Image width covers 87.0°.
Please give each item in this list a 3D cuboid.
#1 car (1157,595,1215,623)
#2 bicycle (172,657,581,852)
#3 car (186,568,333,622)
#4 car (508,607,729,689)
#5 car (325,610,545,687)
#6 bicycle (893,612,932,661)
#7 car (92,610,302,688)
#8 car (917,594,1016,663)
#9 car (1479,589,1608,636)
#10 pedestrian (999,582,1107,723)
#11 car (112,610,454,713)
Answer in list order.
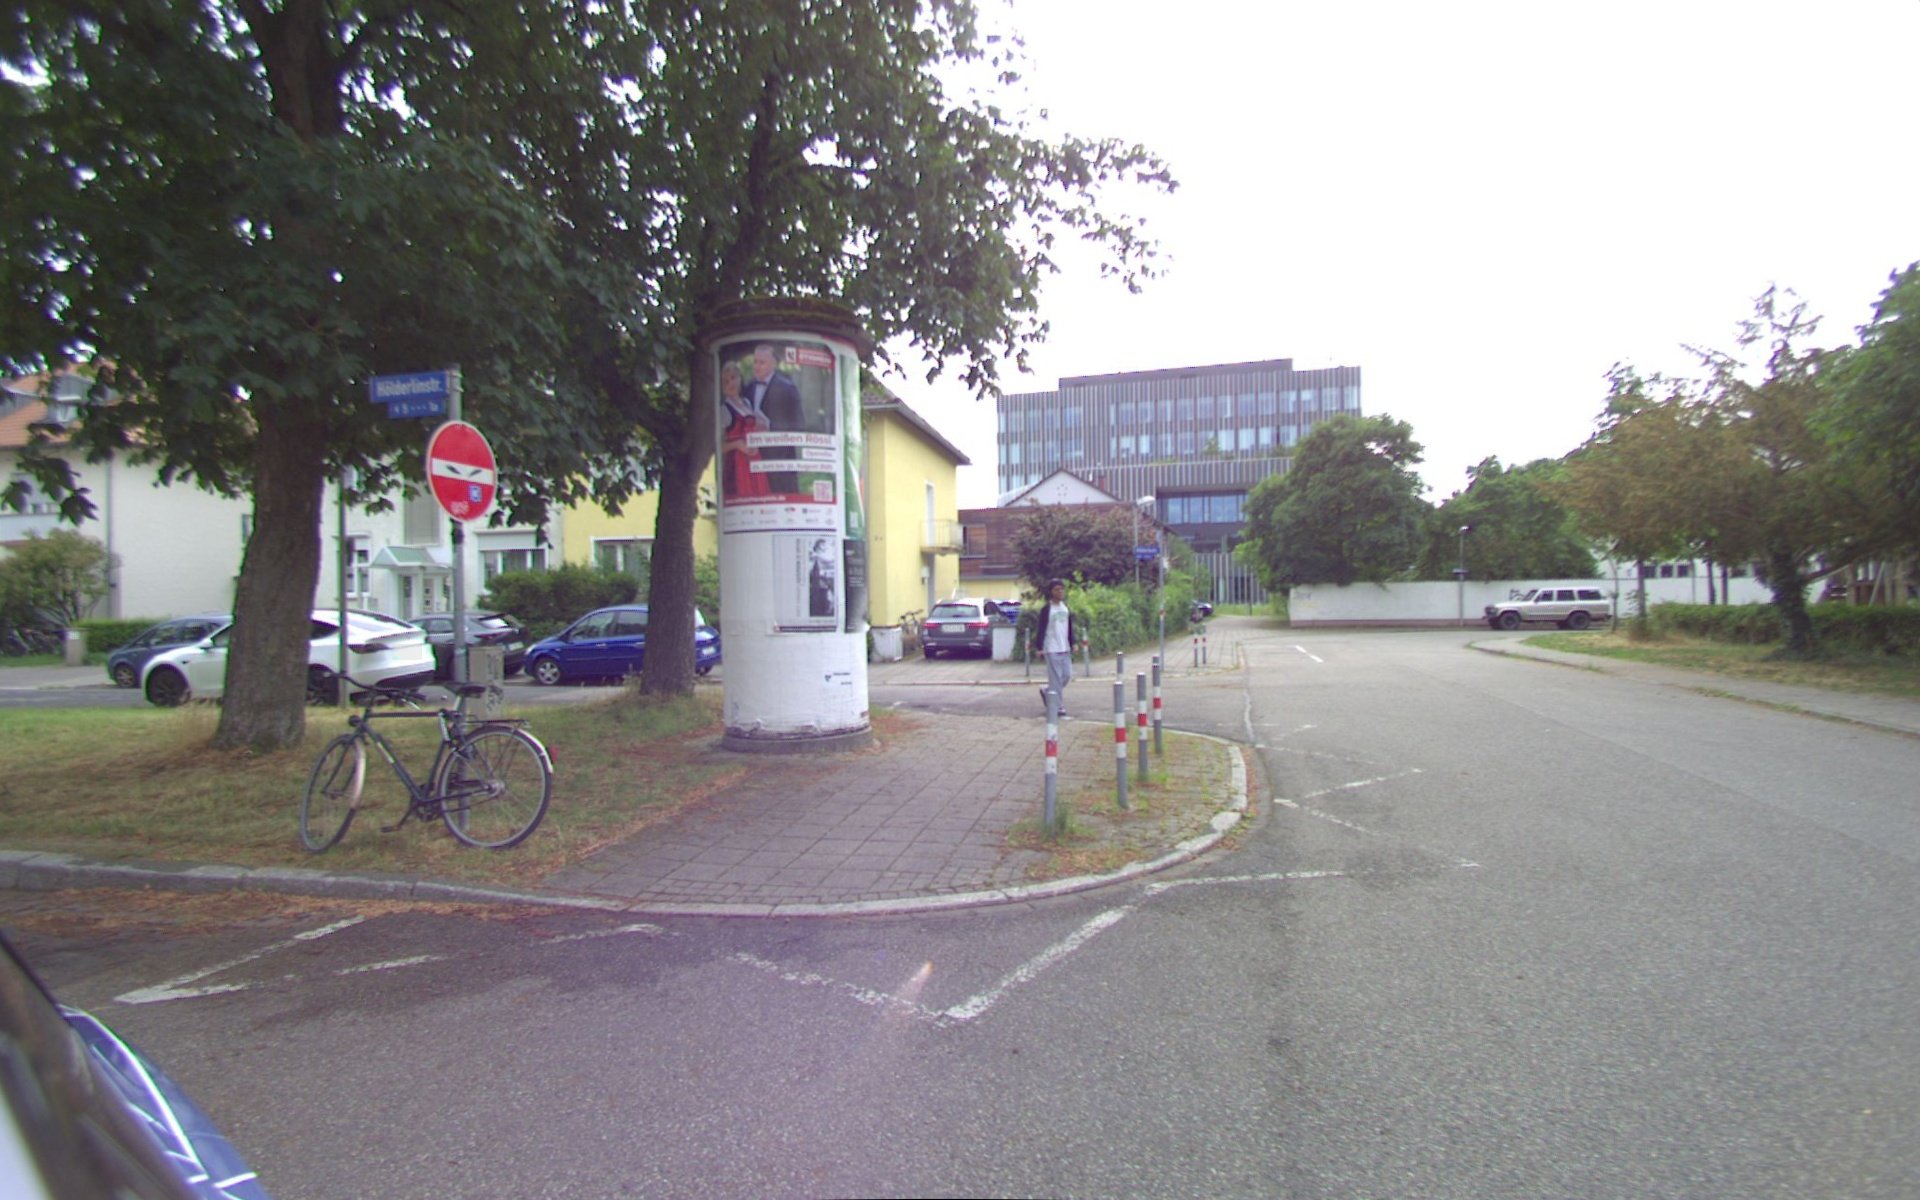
[{"bbox_3d":[16.460,0.631,73.552,3.966,1.851,1.989,-1,2,17],"label":"car"},{"bbox_3d":[-3.323,0.865,5.801,2.157,0.993,0.511,-1,2,9],"label":"bicycle"},{"bbox_3d":[-24.576,-0.216,35.698,1.979,1.740,3.986,-1,2,11],"label":"car"},{"bbox_3d":[-7.176,0.982,21.334,4.171,1.578,1.697,-1,1,15],"label":"car"},{"bbox_3d":[-11.600,1.067,22.452,4.122,1.511,1.714,-1,2,11],"label":"car"},{"bbox_3d":[-1.218,0.935,26.539,0.478,1.203,2.168,-1,-1,12],"label":"bicycle"},{"bbox_3d":[-17.738,1.130,23.592,3.842,1.613,1.715,-1,2,10],"label":"car"},{"bbox_3d":[0.250,0.687,25.989,1.824,1.622,3.986,-1,-1,11],"label":"car"},{"bbox_3d":[25.355,0.526,44.131,4.448,1.873,1.993,-1,2,12],"label":"car"},{"bbox_3d":[1.274,0.696,13.983,0.864,1.850,1.222,0,-1,-37],"label":"pedestrian"},{"bbox_3d":[-11.200,0.988,16.857,4.831,1.578,1.896,-1,-1,11],"label":"car"}]
